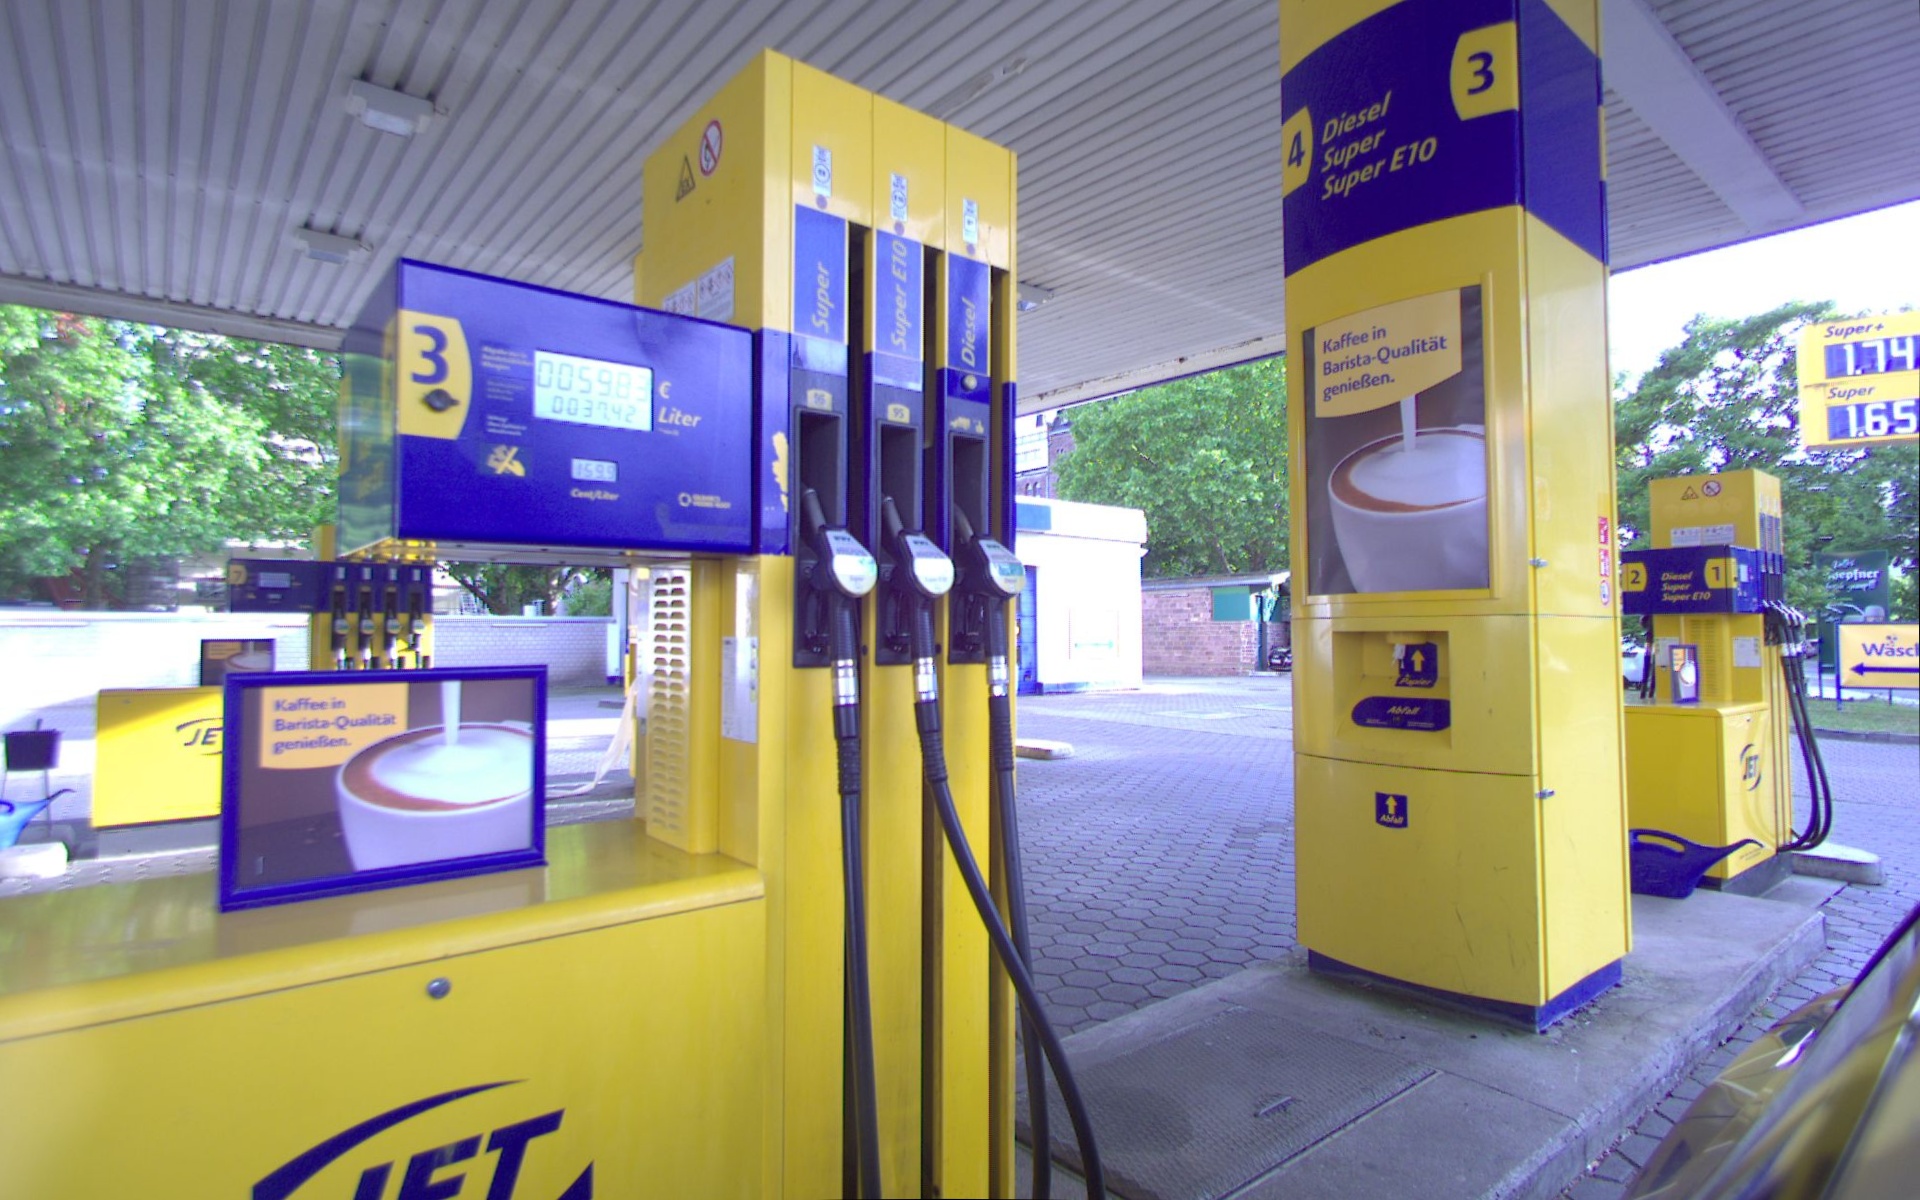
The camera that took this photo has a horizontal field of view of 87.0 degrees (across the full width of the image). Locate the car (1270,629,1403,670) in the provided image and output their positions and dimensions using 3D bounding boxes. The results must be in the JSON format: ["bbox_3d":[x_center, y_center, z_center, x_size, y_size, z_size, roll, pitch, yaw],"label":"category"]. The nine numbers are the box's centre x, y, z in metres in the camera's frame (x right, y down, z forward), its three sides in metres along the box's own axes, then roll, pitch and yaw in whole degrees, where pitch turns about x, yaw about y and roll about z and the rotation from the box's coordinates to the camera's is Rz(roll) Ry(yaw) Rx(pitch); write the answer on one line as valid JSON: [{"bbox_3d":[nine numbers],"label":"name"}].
[{"bbox_3d":[12.835,1.703,34.493,4.134,1.294,1.751,2,-3,-22],"label":"car"}]

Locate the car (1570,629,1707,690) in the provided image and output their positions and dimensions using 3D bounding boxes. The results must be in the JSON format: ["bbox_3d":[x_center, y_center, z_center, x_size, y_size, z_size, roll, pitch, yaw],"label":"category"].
[{"bbox_3d":[18.227,1.565,27.157,3.923,1.529,1.740,2,-3,-35],"label":"car"}]

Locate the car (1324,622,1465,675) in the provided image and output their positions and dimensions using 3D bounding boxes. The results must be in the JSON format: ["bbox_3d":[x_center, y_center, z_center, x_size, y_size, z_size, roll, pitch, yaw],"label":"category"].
[{"bbox_3d":[13.795,1.551,32.144,4.134,1.544,1.791,2,-3,-24],"label":"car"}]

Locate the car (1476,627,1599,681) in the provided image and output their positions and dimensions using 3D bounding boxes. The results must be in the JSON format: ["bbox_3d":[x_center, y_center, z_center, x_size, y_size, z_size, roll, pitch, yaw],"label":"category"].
[{"bbox_3d":[17.561,1.644,30.744,3.923,1.529,1.740,3,-3,-35],"label":"car"}]
